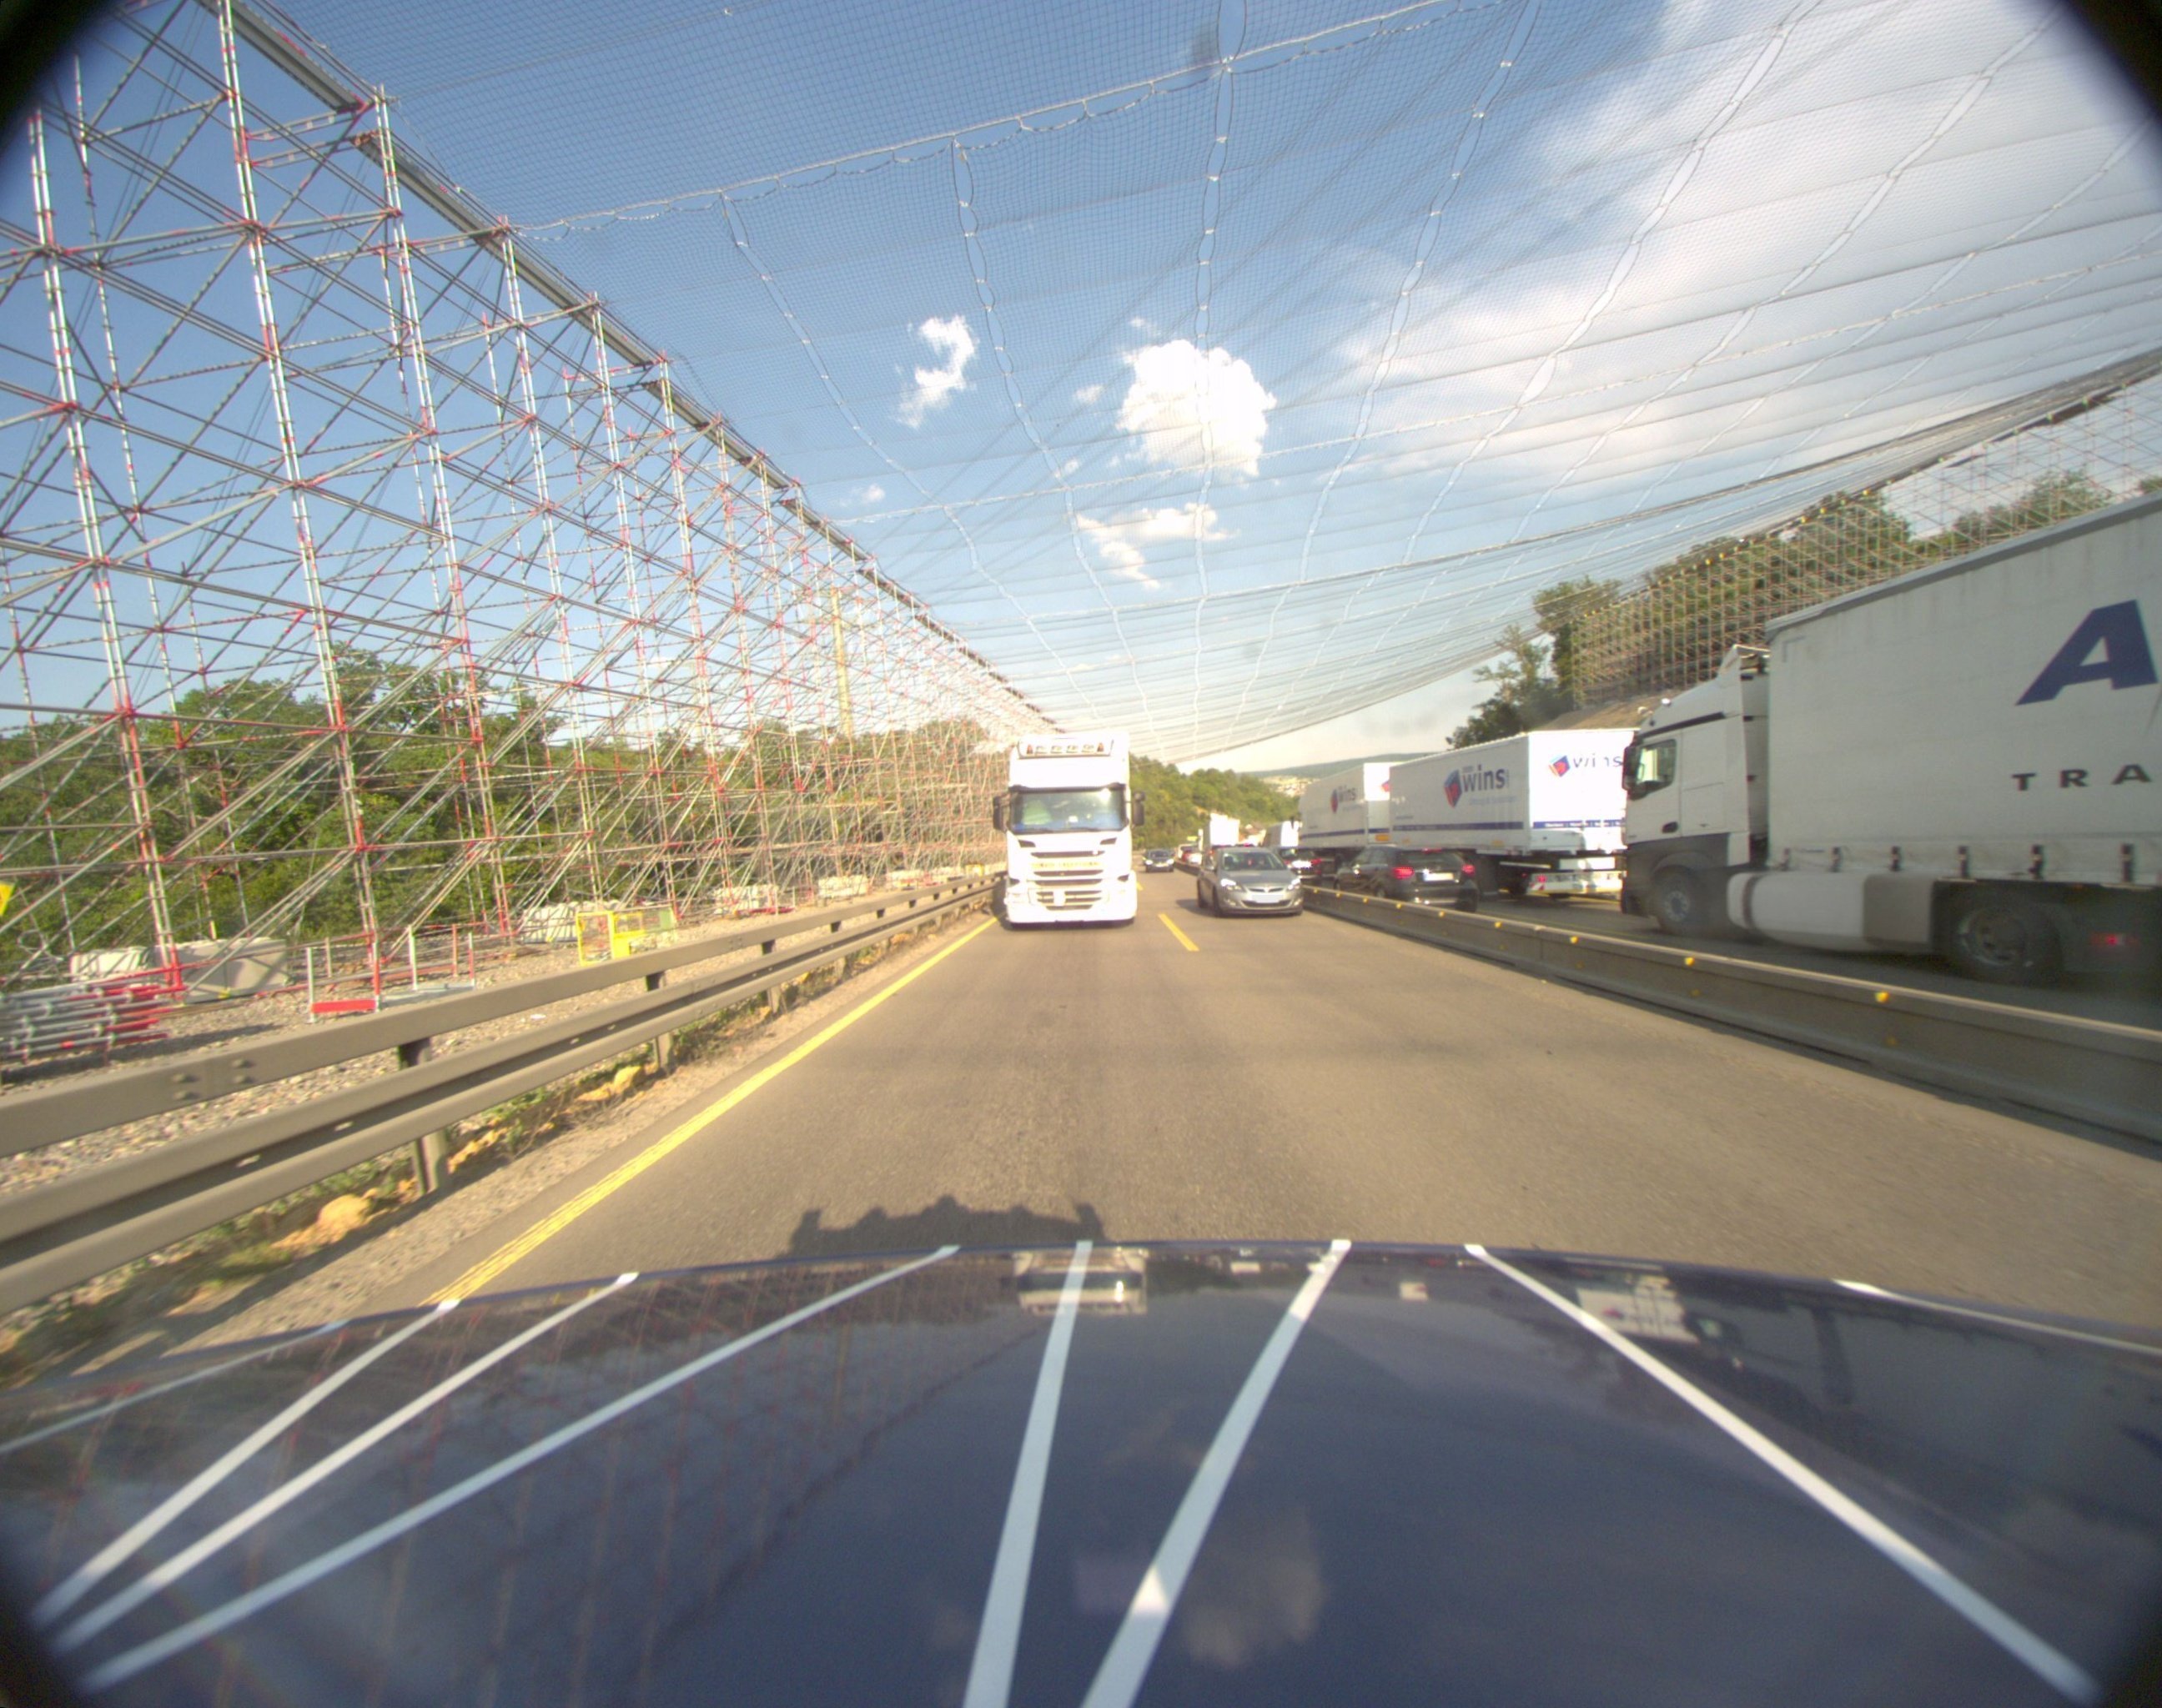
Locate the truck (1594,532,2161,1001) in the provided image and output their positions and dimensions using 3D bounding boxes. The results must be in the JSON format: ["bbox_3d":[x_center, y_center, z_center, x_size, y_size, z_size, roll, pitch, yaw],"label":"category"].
[{"bbox_3d":[9.516,-0.808,9.397,2.479,4.022,5.616,-2,1,0],"label":"truck"}]

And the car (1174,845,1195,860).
[{"bbox_3d":[10.326,-0.190,75.972,1.812,1.411,4.519,-2,1,4],"label":"car"}]

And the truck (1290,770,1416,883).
[{"bbox_3d":[10.580,-1.002,30.390,2.637,3.887,7.204,-2,1,2],"label":"truck"}]

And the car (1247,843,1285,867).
[{"bbox_3d":[12.313,0.023,50.810,1.796,1.429,4.381,-2,1,5],"label":"car"}]

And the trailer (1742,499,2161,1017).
[{"bbox_3d":[9.451,-0.715,2.376,2.434,3.940,14.096,-2,1,0],"label":"trailer"}]

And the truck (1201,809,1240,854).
[{"bbox_3d":[14.489,-2.311,79.899,2.727,4.203,14.172,-2,1,6],"label":"truck"}]

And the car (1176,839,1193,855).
[{"bbox_3d":[12.852,-0.901,94.831,1.812,1.858,5.282,-2,1,5],"label":"car"}]

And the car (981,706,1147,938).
[{"bbox_3d":[-0.181,-0.623,17.910,2.858,4.092,8.280,-2,1,2],"label":"car"}]

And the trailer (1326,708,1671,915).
[{"bbox_3d":[10.420,-0.923,21.720,2.676,3.992,13.332,-2,1,1],"label":"trailer"}]

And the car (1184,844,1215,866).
[{"bbox_3d":[9.182,0.027,59.213,1.812,1.559,4.366,-2,1,2],"label":"car"}]

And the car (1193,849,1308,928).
[{"bbox_3d":[3.621,0.658,16.969,1.760,1.464,4.353,-2,1,3],"label":"car"}]

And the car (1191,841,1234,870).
[{"bbox_3d":[7.612,0.074,44.385,1.812,1.559,4.366,-2,1,2],"label":"car"}]

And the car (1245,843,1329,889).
[{"bbox_3d":[7.287,0.357,27.328,1.782,1.442,4.663,-2,1,1],"label":"car"}]

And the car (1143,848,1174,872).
[{"bbox_3d":[4.874,0.351,48.127,1.764,1.376,3.823,-2,1,3],"label":"car"}]

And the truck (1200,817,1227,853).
[{"bbox_3d":[15.248,-2.186,87.651,2.521,3.885,6.050,-2,1,6],"label":"truck"}]

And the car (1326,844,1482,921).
[{"bbox_3d":[6.615,0.505,16.015,1.611,1.368,3.900,-2,1,0],"label":"car"}]

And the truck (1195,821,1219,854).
[{"bbox_3d":[18.971,-2.413,115.032,2.993,4.532,17.414,-2,1,8],"label":"truck"}]

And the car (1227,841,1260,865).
[{"bbox_3d":[12.419,-0.116,58.365,1.828,1.717,4.938,-2,1,5],"label":"car"}]

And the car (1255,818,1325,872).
[{"bbox_3d":[11.471,-0.507,42.388,2.246,2.697,7.082,-2,1,3],"label":"car"}]
